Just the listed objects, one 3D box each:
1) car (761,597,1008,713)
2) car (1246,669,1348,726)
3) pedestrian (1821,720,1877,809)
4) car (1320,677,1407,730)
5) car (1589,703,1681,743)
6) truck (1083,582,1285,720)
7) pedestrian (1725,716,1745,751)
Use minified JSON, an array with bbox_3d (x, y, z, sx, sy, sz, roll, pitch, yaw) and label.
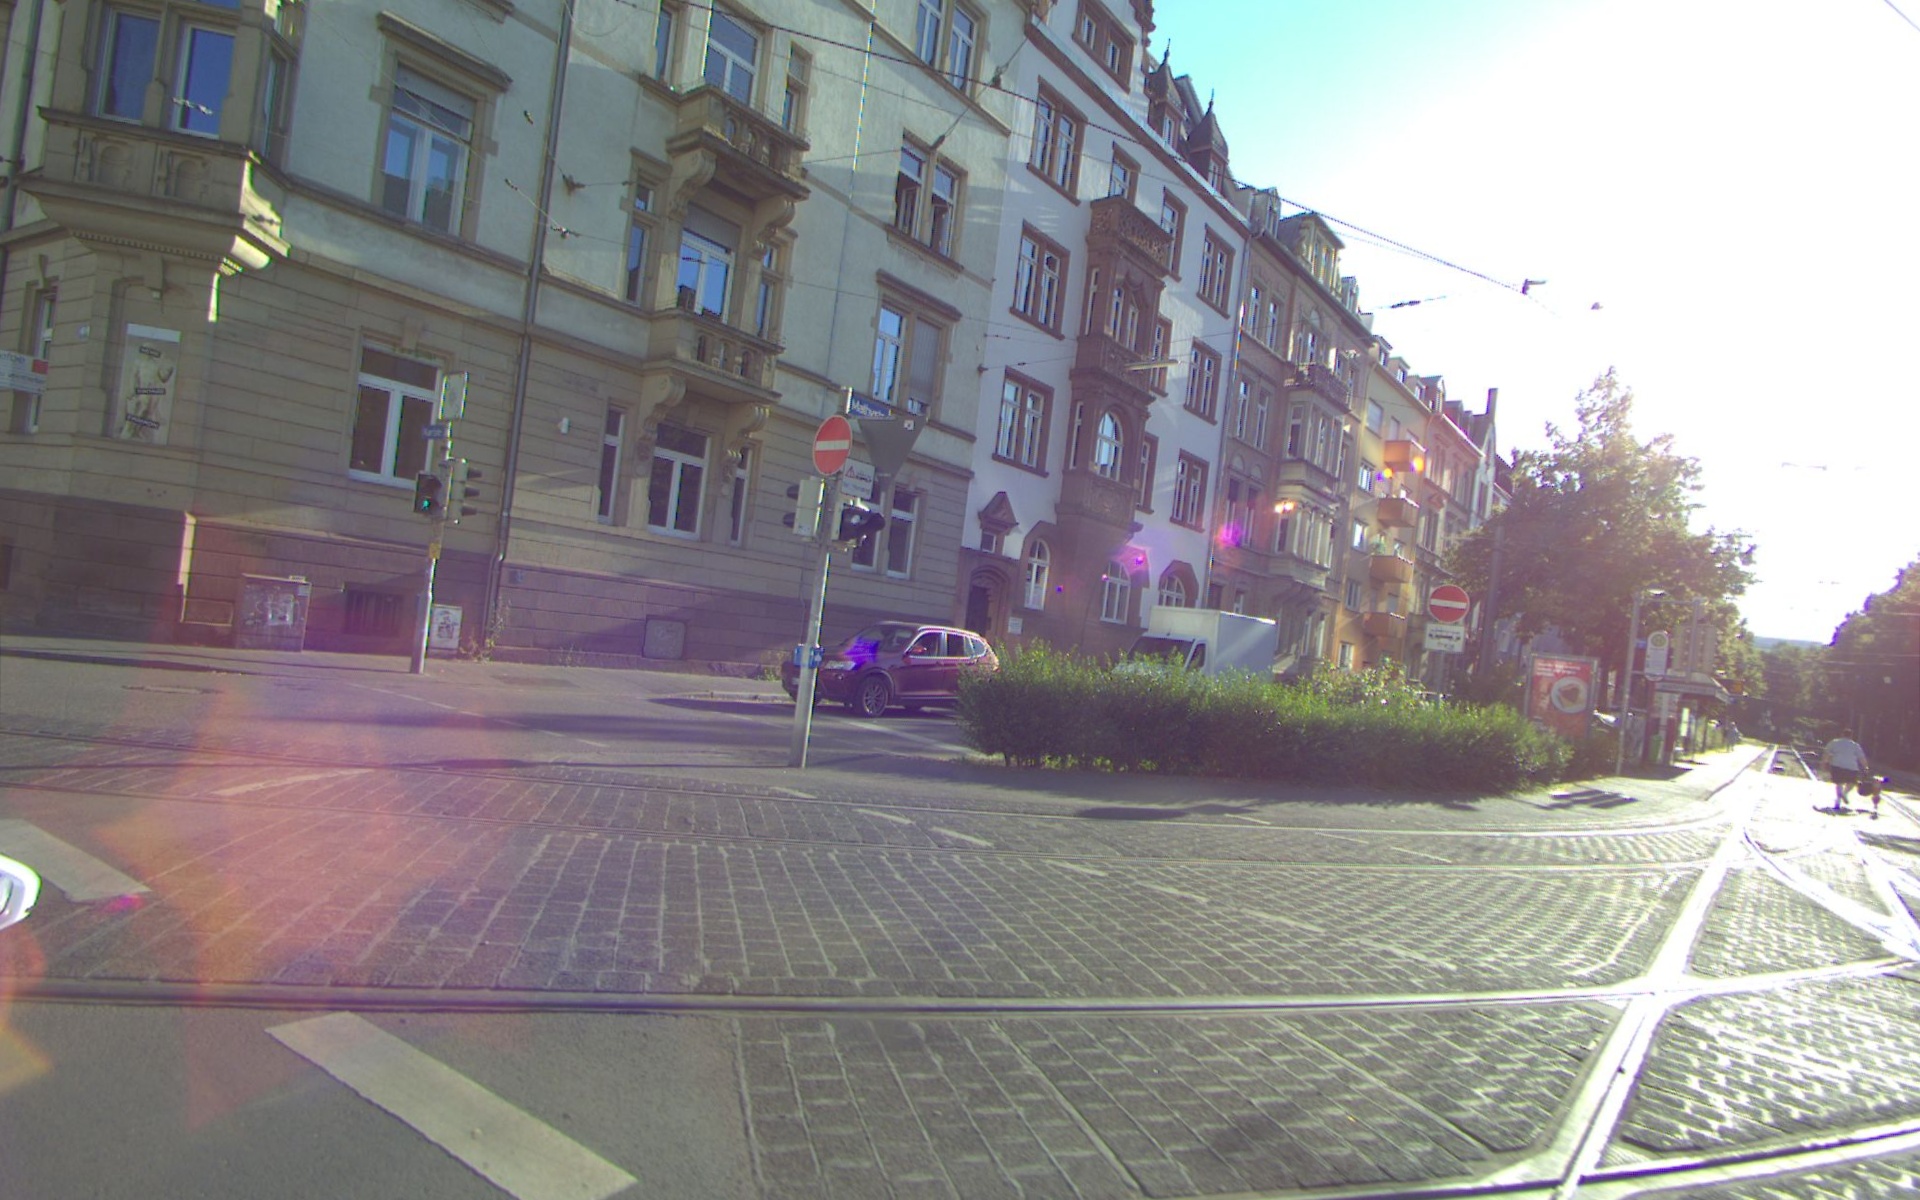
[{"bbox_3d":[-1.251,1.057,18.268,1.918,1.650,4.256,4,-4,41],"label":"car"},{"bbox_3d":[12.038,3.481,35.771,1.919,1.649,4.257,2,-6,41],"label":"car"},{"bbox_3d":[21.979,4.052,24.878,0.853,2.038,0.603,7,0,44],"label":"pedestrian"},{"bbox_3d":[16.299,4.193,40.522,1.919,1.790,4.257,2,-6,41],"label":"car"},{"bbox_3d":[40.849,7.410,61.000,1.916,1.945,4.262,7,-4,-19],"label":"car"},{"bbox_3d":[6.559,1.597,28.243,2.295,3.114,8.065,4,-4,36],"label":"truck"},{"bbox_3d":[44.021,7.578,57.167,0.674,1.851,0.603,7,0,44],"label":"pedestrian"}]
